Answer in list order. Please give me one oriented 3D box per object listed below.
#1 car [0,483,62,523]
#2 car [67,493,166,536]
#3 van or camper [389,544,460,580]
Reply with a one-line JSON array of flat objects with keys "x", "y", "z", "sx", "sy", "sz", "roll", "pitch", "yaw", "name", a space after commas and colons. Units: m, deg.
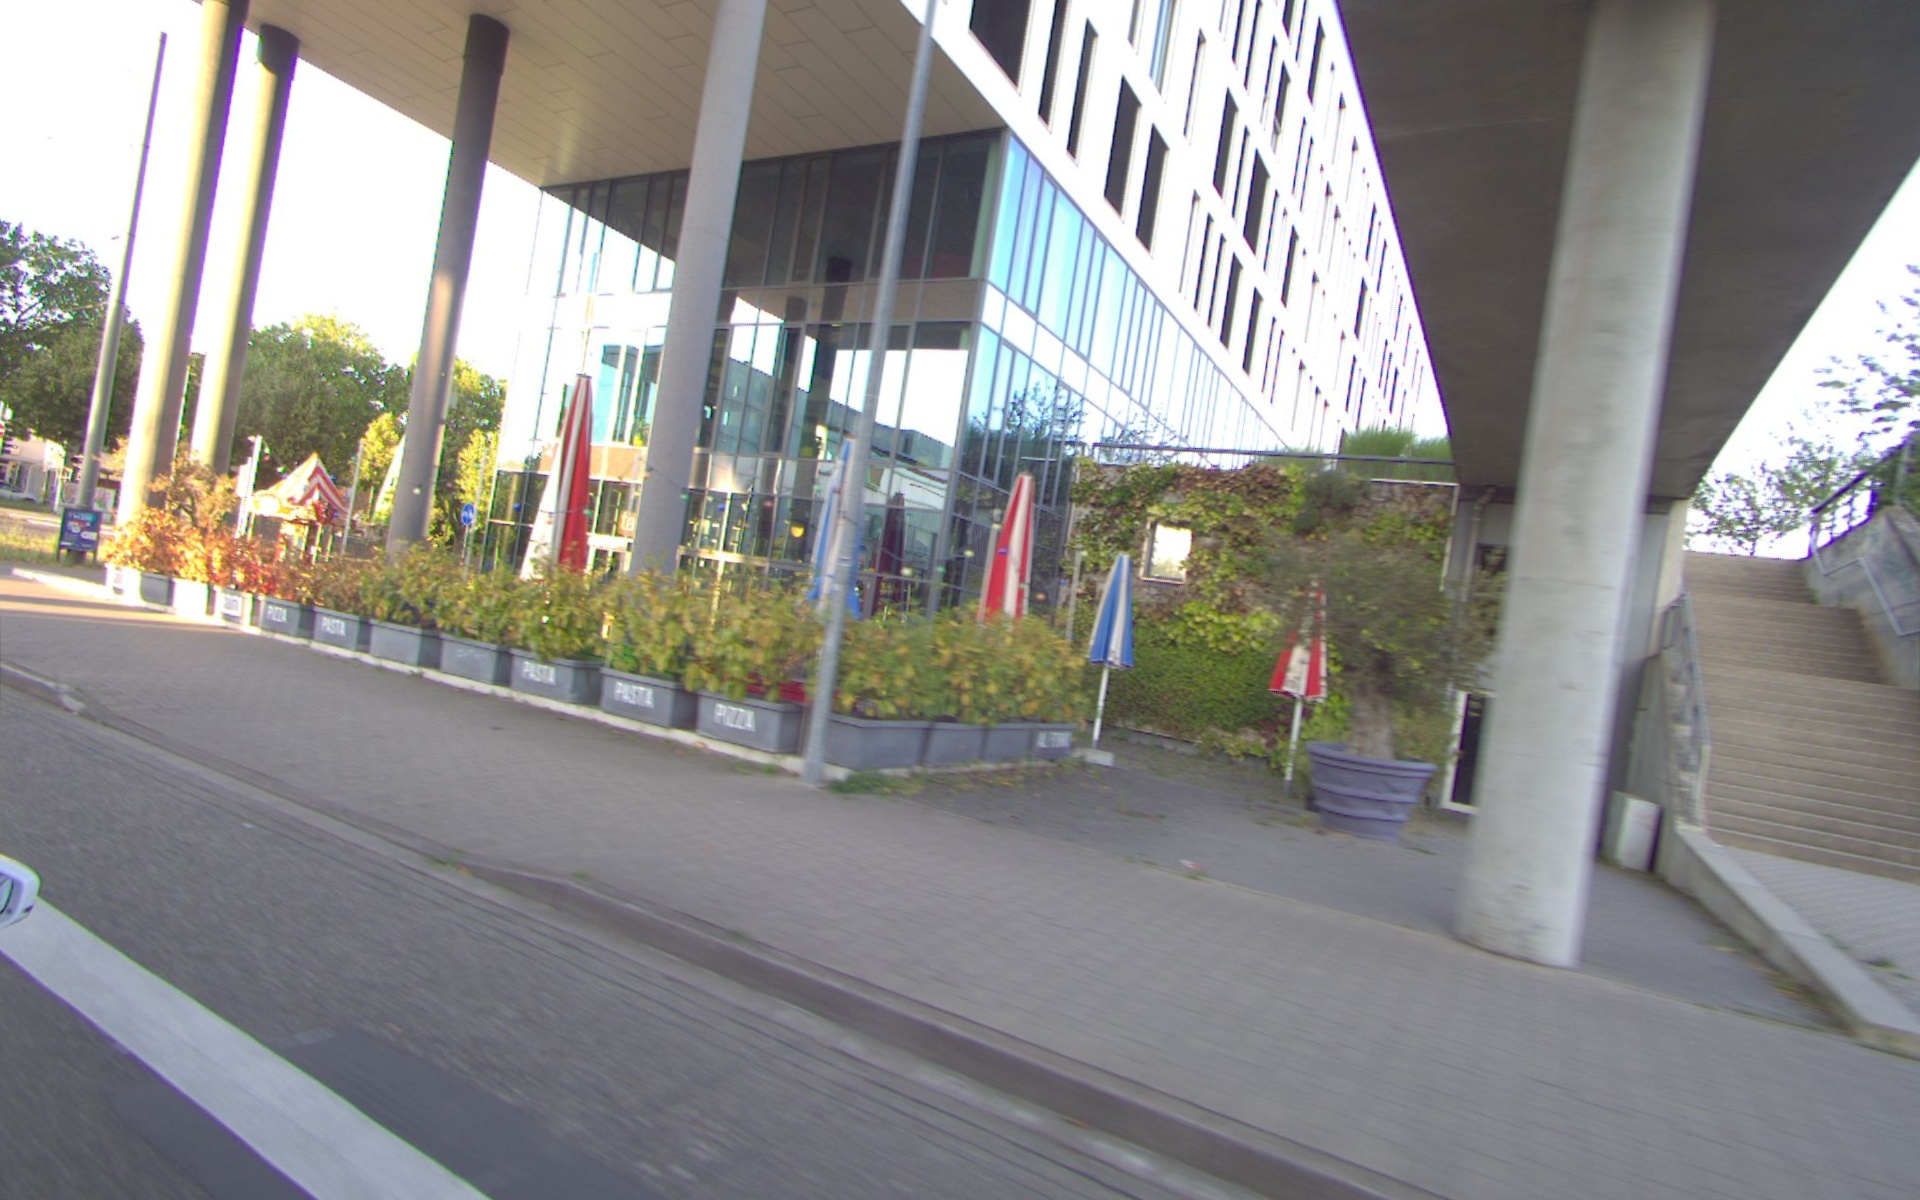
[{"x": -58.632, "y": -6.150, "z": 61.969, "sx": 1.913, "sy": 1.837, "sz": 4.476, "roll": 10, "pitch": -1, "yaw": 33, "name": "car"}, {"x": -55.449, "y": -5.594, "z": 66.171, "sx": 1.913, "sy": 1.837, "sz": 4.476, "roll": 10, "pitch": -1, "yaw": 33, "name": "car"}, {"x": -45.337, "y": -3.197, "z": 85.217, "sx": 2.043, "sy": 2.205, "sz": 4.666, "roll": 10, "pitch": -1, "yaw": 33, "name": "van or camper"}]
